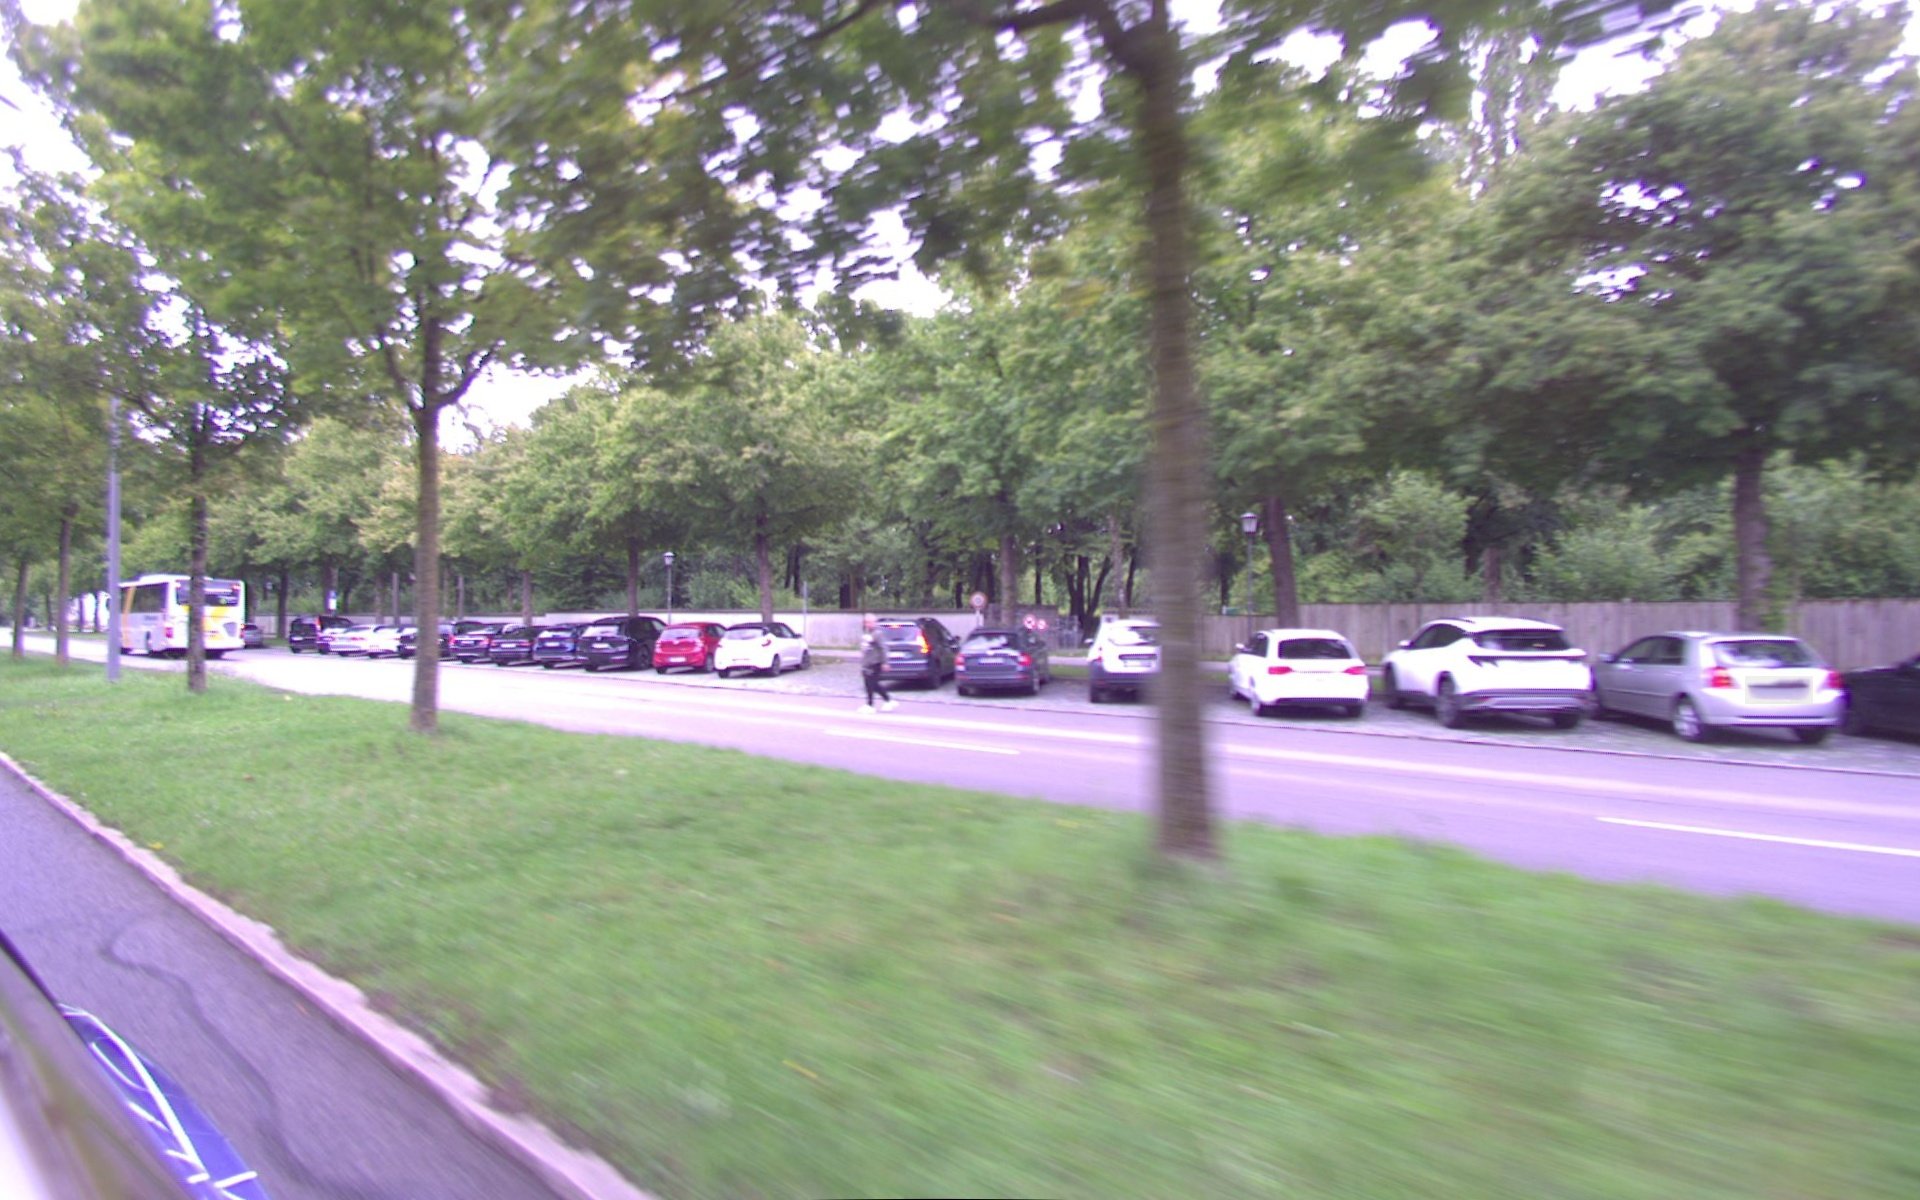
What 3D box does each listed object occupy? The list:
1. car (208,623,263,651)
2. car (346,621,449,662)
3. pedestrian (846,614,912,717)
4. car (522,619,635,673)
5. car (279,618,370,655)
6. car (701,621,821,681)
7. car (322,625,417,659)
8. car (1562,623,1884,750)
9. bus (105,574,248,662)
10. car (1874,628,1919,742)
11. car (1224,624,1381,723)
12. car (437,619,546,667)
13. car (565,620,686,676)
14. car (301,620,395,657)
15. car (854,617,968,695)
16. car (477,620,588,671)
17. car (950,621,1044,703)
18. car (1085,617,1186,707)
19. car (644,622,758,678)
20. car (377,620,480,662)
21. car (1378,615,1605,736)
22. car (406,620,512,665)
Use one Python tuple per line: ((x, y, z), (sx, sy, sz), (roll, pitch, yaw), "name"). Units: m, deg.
((-41.022, 2.065, 57.265), (1.864, 1.454, 4.171), (0, 0, -45), "car")
((-24.490, 1.783, 44.227), (1.870, 1.569, 3.989), (-2, 0, 9), "car")
((-1.396, 1.110, 17.397), (0.859, 1.711, 0.773), (2, -1, -29), "pedestrian")
((-12.877, 1.510, 34.396), (1.870, 1.569, 3.989), (-2, 0, 9), "car")
((-31.835, 1.809, 50.833), (1.760, 1.741, 3.992), (0, 0, 7), "car")
((-5.620, 1.415, 29.076), (1.873, 1.474, 3.983), (-2, 0, 13), "car")
((-26.954, 1.904, 46.356), (1.574, 1.376, 3.987), (-1, 0, 10), "car")
((10.633, 1.124, 14.544), (1.778, 1.477, 3.995), (0, 0, 4), "car")
((-33.568, 0.783, 43.106), (11.923, 3.323, 2.641), (-1, -3, 42), "bus")
((12.956, 1.092, 11.651), (1.782, 1.445, 3.986), (-1, 0, 11), "car")
((5.953, 1.210, 18.110), (1.780, 1.449, 4.316), (0, 0, 7), "car")
((-17.655, 1.592, 38.363), (1.870, 1.569, 3.989), (-2, 0, 9), "car")
((-10.640, 1.492, 32.493), (1.873, 1.569, 3.983), (-2, 0, 13), "car")
((-29.472, 1.828, 48.866), (1.869, 1.654, 3.992), (0, 0, 7), "car")
((-1.096, 1.298, 24.683), (1.783, 1.599, 3.985), (-2, 0, 12), "car")
((-15.345, 1.595, 36.559), (1.870, 1.569, 3.989), (-2, 0, 9), "car")
((0.907, 1.303, 22.475), (1.780, 1.497, 3.992), (-2, 0, 6), "car")
((3.518, 1.190, 20.892), (1.780, 1.585, 4.316), (0, 0, 7), "car")
((-7.875, 1.484, 31.127), (1.723, 1.466, 3.983), (-2, 0, 13), "car")
((-22.417, 1.702, 42.859), (1.870, 1.569, 3.989), (-2, 0, 9), "car")
((8.277, 1.092, 16.201), (1.779, 1.635, 3.994), (0, 0, 5), "car")
((-20.112, 1.682, 40.830), (1.870, 1.569, 3.989), (-2, 0, 9), "car")
